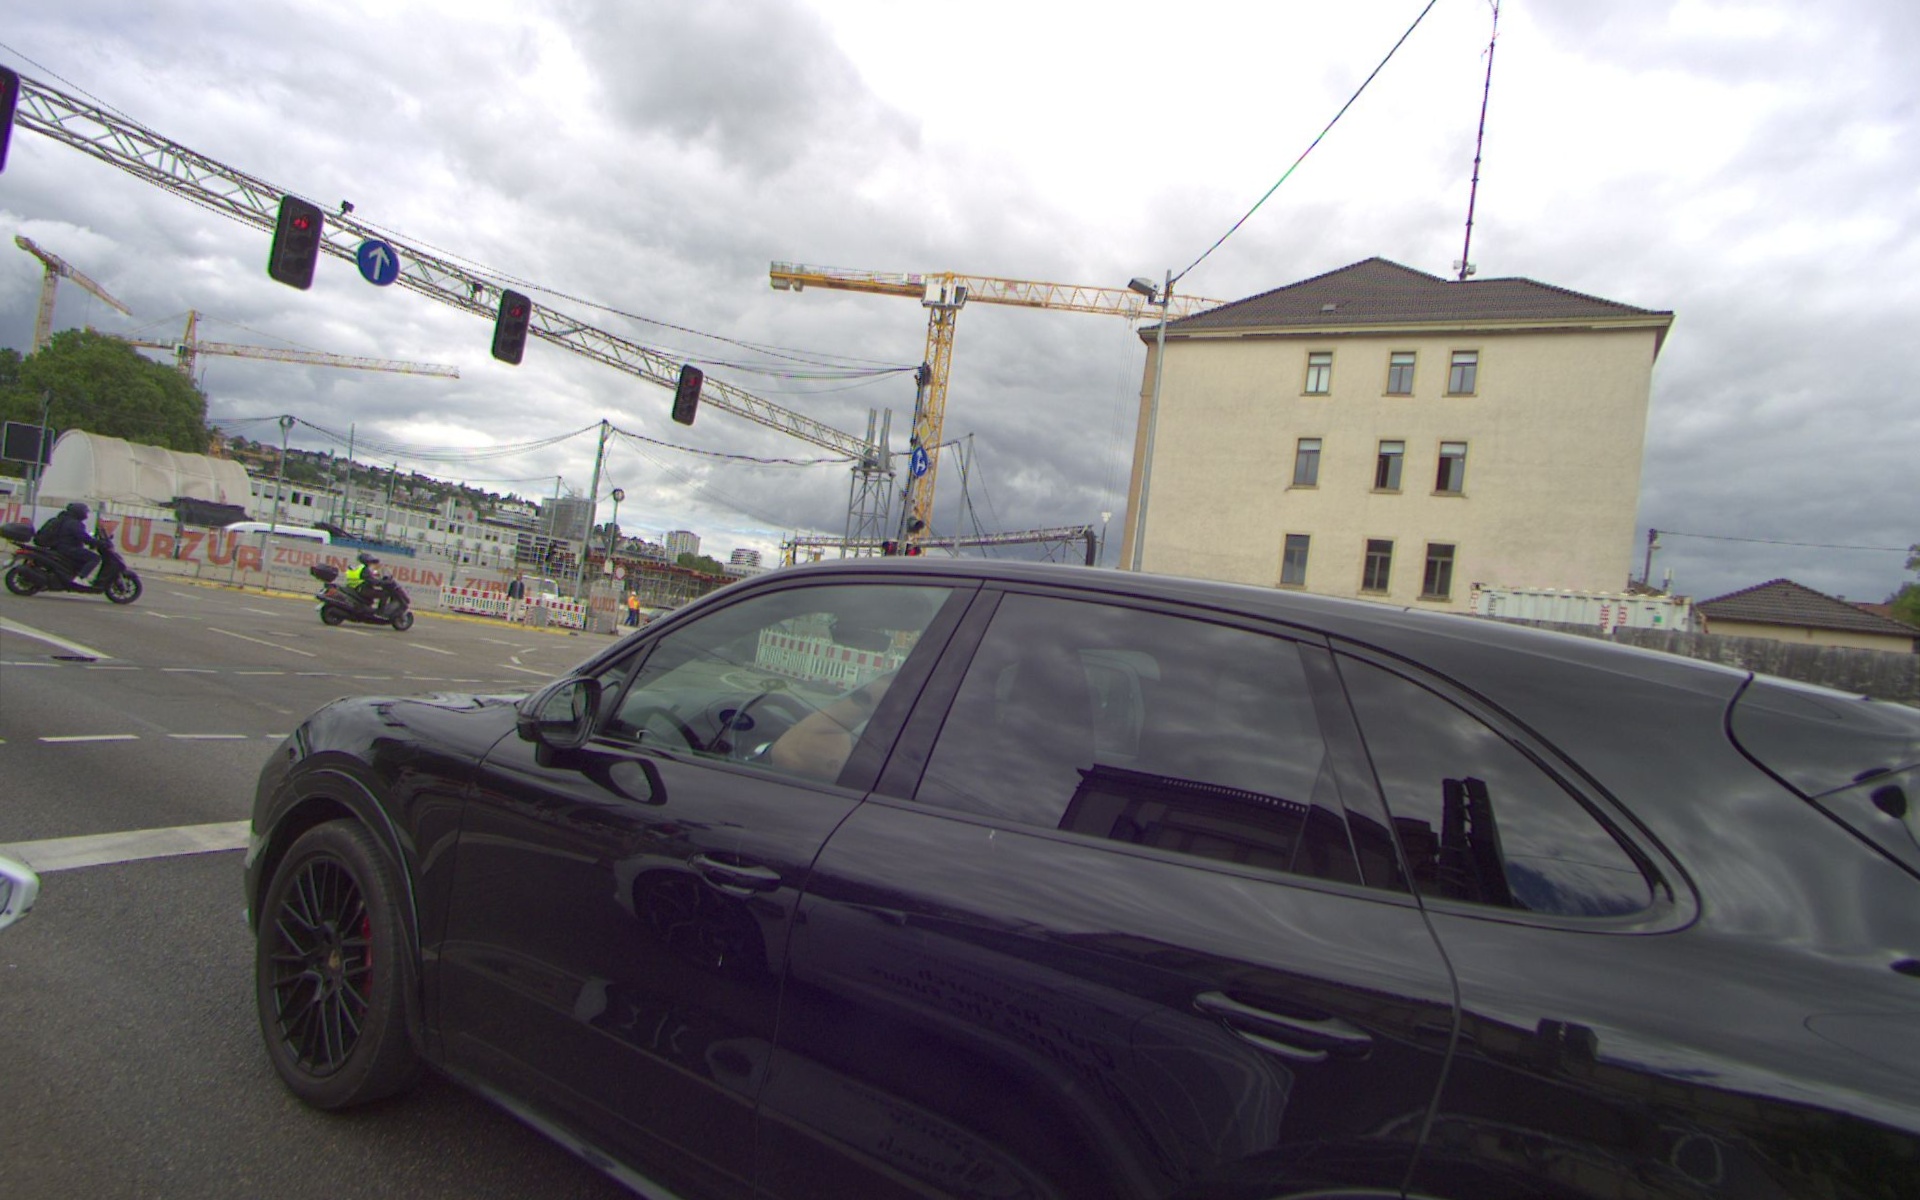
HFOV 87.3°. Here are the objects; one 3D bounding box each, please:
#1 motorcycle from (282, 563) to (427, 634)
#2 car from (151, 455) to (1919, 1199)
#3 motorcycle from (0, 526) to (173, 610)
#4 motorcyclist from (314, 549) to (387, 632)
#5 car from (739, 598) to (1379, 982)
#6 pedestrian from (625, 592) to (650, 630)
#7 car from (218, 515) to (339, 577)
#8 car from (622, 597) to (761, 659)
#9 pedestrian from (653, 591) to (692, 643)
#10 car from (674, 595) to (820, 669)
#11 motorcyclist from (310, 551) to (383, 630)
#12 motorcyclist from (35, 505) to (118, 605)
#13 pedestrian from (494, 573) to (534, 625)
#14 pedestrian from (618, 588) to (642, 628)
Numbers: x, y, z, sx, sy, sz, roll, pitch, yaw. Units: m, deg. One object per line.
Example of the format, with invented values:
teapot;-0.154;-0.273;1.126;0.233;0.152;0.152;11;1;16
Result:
motorcycle;-12.745;-0.005;21.261;0.804;1.168;2.427;6;-2;32
car;-0.008;0.687;2.720;4.505;1.687;1.997;6;-2;34
motorcycle;-15.352;-0.536;17.705;0.641;1.168;2.171;6;-2;32
motorcyclist;-12.802;-0.200;21.136;0.804;1.589;0.880;6;-1;32
car;0.573;0.997;6.557;3.587;1.527;1.825;6;-2;33
pedestrian;-17.560;0.592;54.795;0.850;1.938;0.680;7;-1;26
car;-29.532;-2.332;43.646;3.976;2.037;1.976;9;-2;-43
car;-9.052;0.989;34.193;1.969;1.565;4.111;6;-2;35
pedestrian;-12.199;0.736;42.690;1.027;2.037;1.034;8;-1;-41
car;-6.637;1.053;31.805;1.967;1.826;4.279;6;-2;31
motorcyclist;-12.832;-0.190;21.053;0.804;1.506;0.880;6;-1;32
motorcyclist;-15.421;-0.778;17.571;0.641;1.615;0.787;6;-1;32
pedestrian;-17.347;-0.053;39.141;1.040;1.869;0.781;8;-1;-42
pedestrian;-17.648;0.443;53.829;0.855;2.037;0.677;6;-1;44
